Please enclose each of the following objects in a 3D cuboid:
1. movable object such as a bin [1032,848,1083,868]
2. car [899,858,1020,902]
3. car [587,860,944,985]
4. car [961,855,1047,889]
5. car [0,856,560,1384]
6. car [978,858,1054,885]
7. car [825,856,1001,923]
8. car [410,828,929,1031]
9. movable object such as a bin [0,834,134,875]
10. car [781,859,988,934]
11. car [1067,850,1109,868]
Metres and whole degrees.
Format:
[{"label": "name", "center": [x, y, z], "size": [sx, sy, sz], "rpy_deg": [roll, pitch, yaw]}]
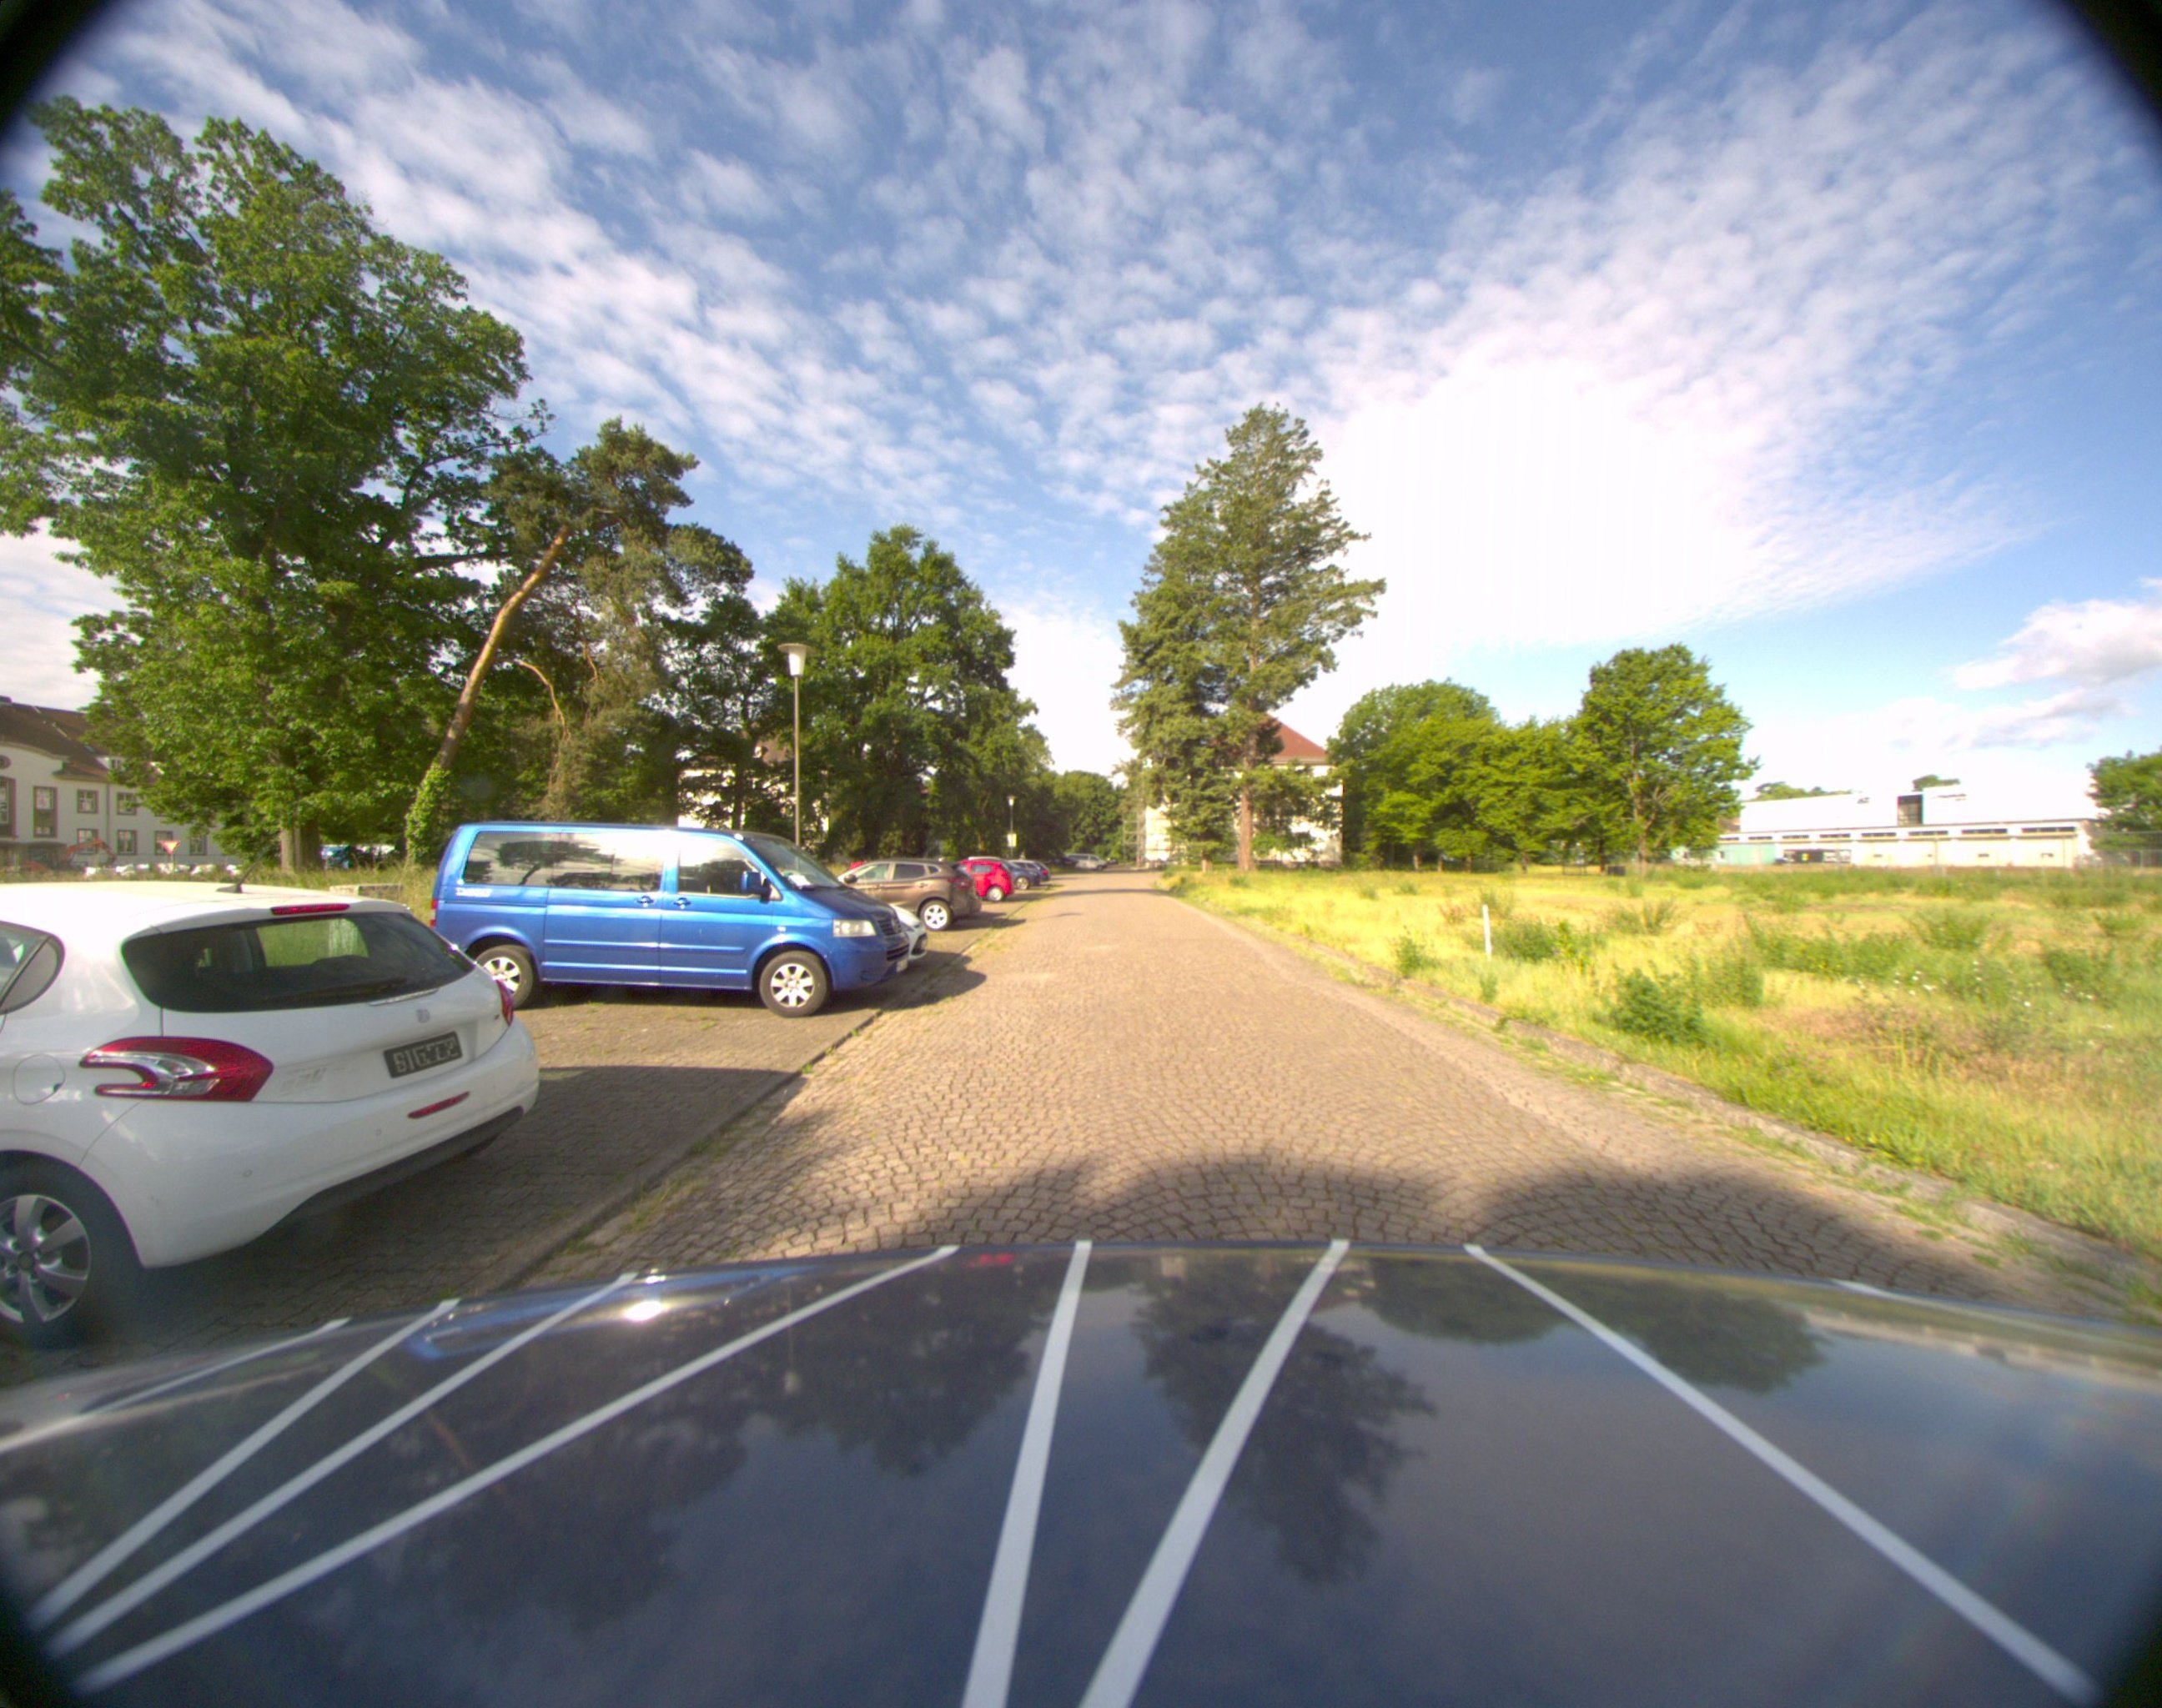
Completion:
[{"label": "movable object such as a bin", "center": [-2.452, 0.406, 78.518], "size": [4.865, 2.002, 2.002], "rpy_deg": [-1, 0, 14]}, {"label": "car", "center": [-4.353, 0.934, 27.772], "size": [4.097, 1.451, 1.853], "rpy_deg": [1, 0, 0]}, {"label": "car", "center": [-4.408, 0.923, 11.147], "size": [4.408, 1.568, 1.939], "rpy_deg": [1, 0, 1]}, {"label": "car", "center": [-3.806, 0.884, 37.993], "size": [4.097, 1.548, 1.853], "rpy_deg": [1, 0, 0]}, {"label": "car", "center": [-4.659, 0.792, 3.194], "size": [3.716, 1.525, 1.761], "rpy_deg": [1, 0, 1]}, {"label": "car", "center": [-3.591, 0.962, 42.641], "size": [4.097, 1.415, 1.785], "rpy_deg": [1, 0, 0]}, {"label": "car", "center": [-4.322, 0.897, 20.079], "size": [4.237, 1.588, 1.934], "rpy_deg": [1, 1, -2]}, {"label": "car", "center": [-4.290, 0.741, 8.524], "size": [4.710, 1.924, 2.000], "rpy_deg": [1, 1, 1]}, {"label": "movable object such as a bin", "center": [-88.087, 0.022, 66.220], "size": [6.460, 3.282, 2.859], "rpy_deg": [-3, 1, -42]}, {"label": "car", "center": [-4.349, 0.922, 17.372], "size": [4.237, 1.588, 1.934], "rpy_deg": [0, 1, -2]}, {"label": "car", "center": [0.810, 0.607, 91.387], "size": [4.933, 2.002, 1.999], "rpy_deg": [1, 1, -5]}]
